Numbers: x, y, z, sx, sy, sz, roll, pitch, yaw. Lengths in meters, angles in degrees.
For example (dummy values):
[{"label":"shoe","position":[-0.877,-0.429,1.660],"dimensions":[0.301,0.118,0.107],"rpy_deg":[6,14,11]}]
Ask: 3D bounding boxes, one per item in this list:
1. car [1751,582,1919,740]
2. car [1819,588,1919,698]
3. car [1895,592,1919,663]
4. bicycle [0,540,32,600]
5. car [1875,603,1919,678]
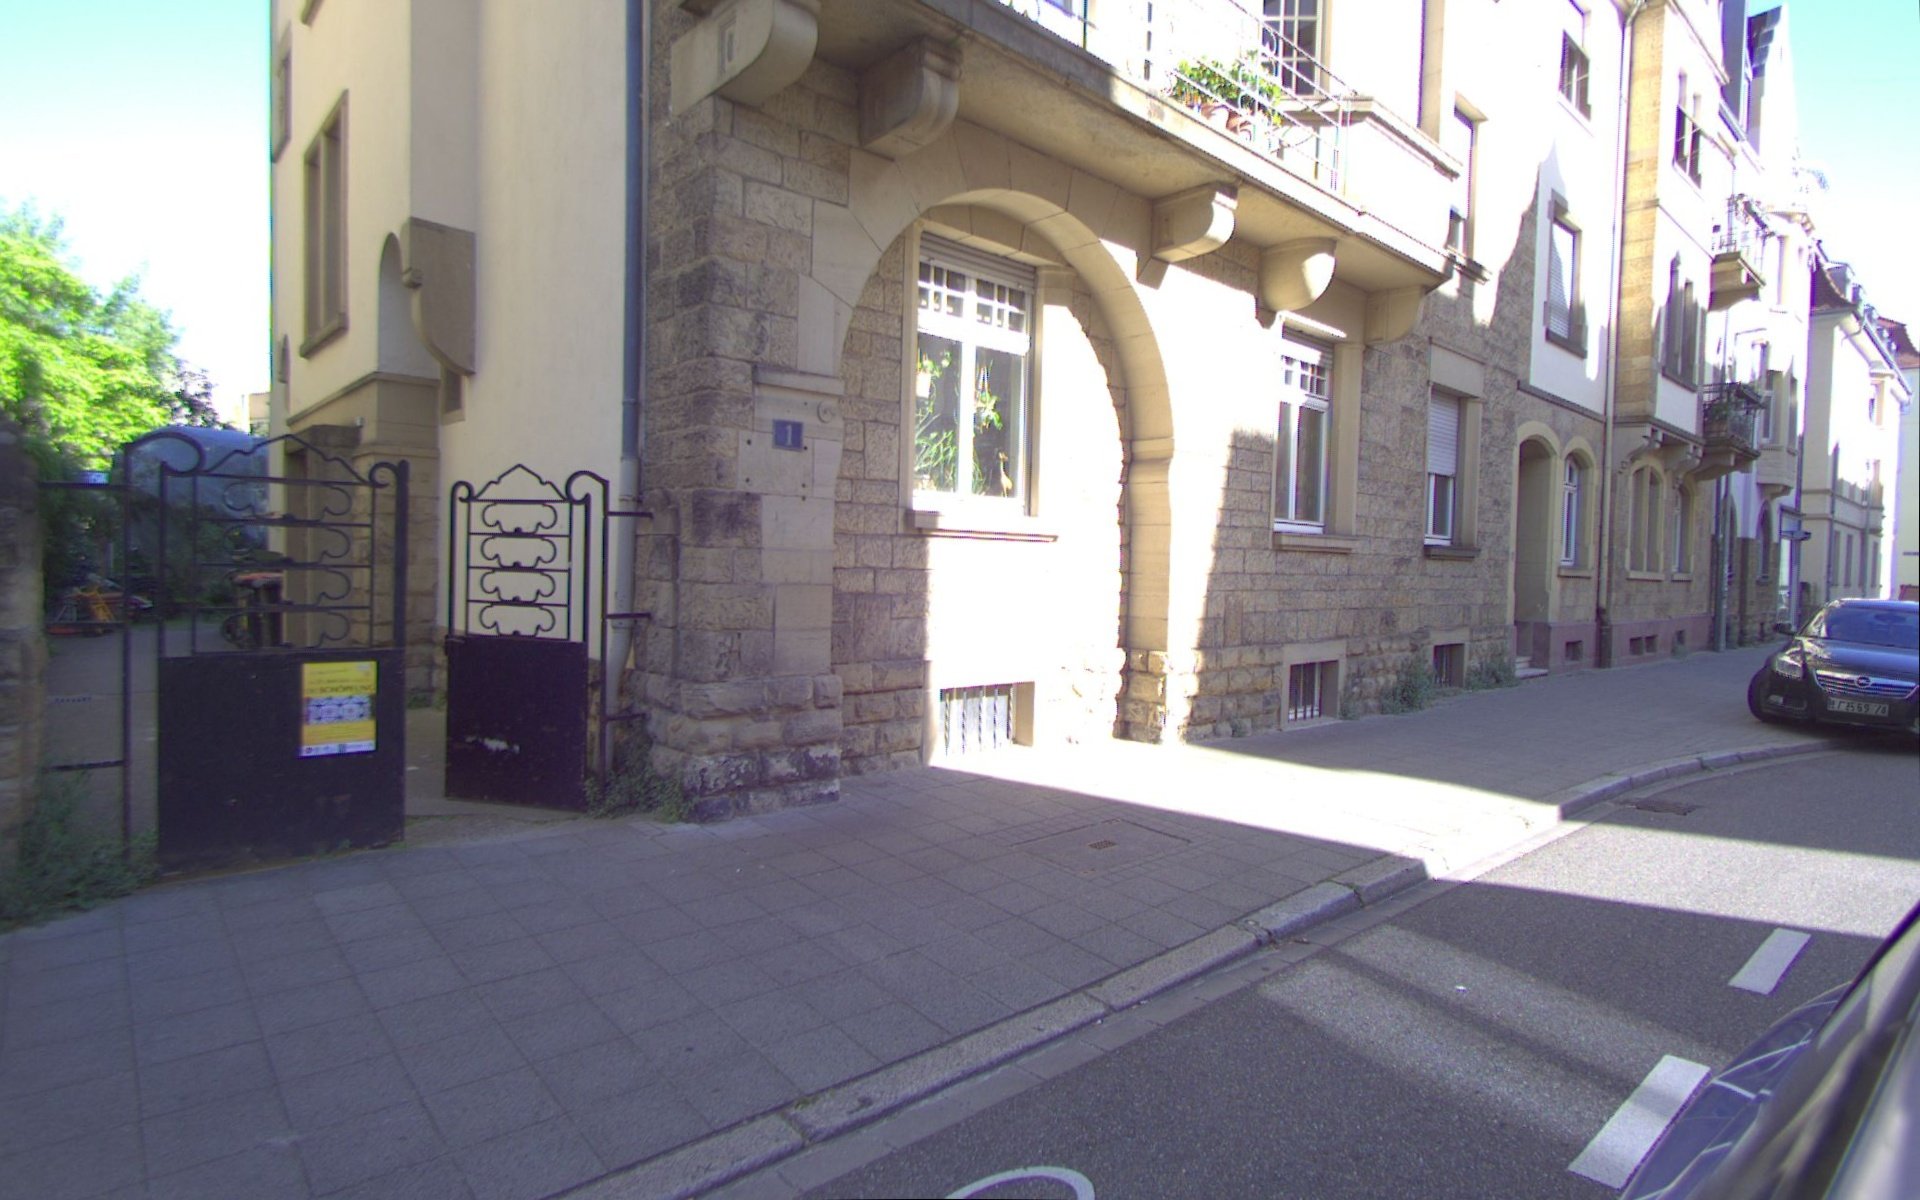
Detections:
[{"label":"car","position":[10.638,0.590,11.515],"dimensions":[4.266,1.480,1.869],"rpy_deg":[0,3,-43]},{"label":"car","position":[14.537,0.597,15.445],"dimensions":[4.187,1.460,1.654],"rpy_deg":[0,3,-43]},{"label":"car","position":[21.515,0.593,21.869],"dimensions":[1.787,1.447,3.746],"rpy_deg":[3,2,44]},{"label":"bicycle","position":[-19.276,-0.618,19.641],"dimensions":[2.834,1.124,0.865],"rpy_deg":[3,2,25]},{"label":"car","position":[18.408,0.736,18.826],"dimensions":[3.874,1.270,1.695],"rpy_deg":[0,2,-43]}]
